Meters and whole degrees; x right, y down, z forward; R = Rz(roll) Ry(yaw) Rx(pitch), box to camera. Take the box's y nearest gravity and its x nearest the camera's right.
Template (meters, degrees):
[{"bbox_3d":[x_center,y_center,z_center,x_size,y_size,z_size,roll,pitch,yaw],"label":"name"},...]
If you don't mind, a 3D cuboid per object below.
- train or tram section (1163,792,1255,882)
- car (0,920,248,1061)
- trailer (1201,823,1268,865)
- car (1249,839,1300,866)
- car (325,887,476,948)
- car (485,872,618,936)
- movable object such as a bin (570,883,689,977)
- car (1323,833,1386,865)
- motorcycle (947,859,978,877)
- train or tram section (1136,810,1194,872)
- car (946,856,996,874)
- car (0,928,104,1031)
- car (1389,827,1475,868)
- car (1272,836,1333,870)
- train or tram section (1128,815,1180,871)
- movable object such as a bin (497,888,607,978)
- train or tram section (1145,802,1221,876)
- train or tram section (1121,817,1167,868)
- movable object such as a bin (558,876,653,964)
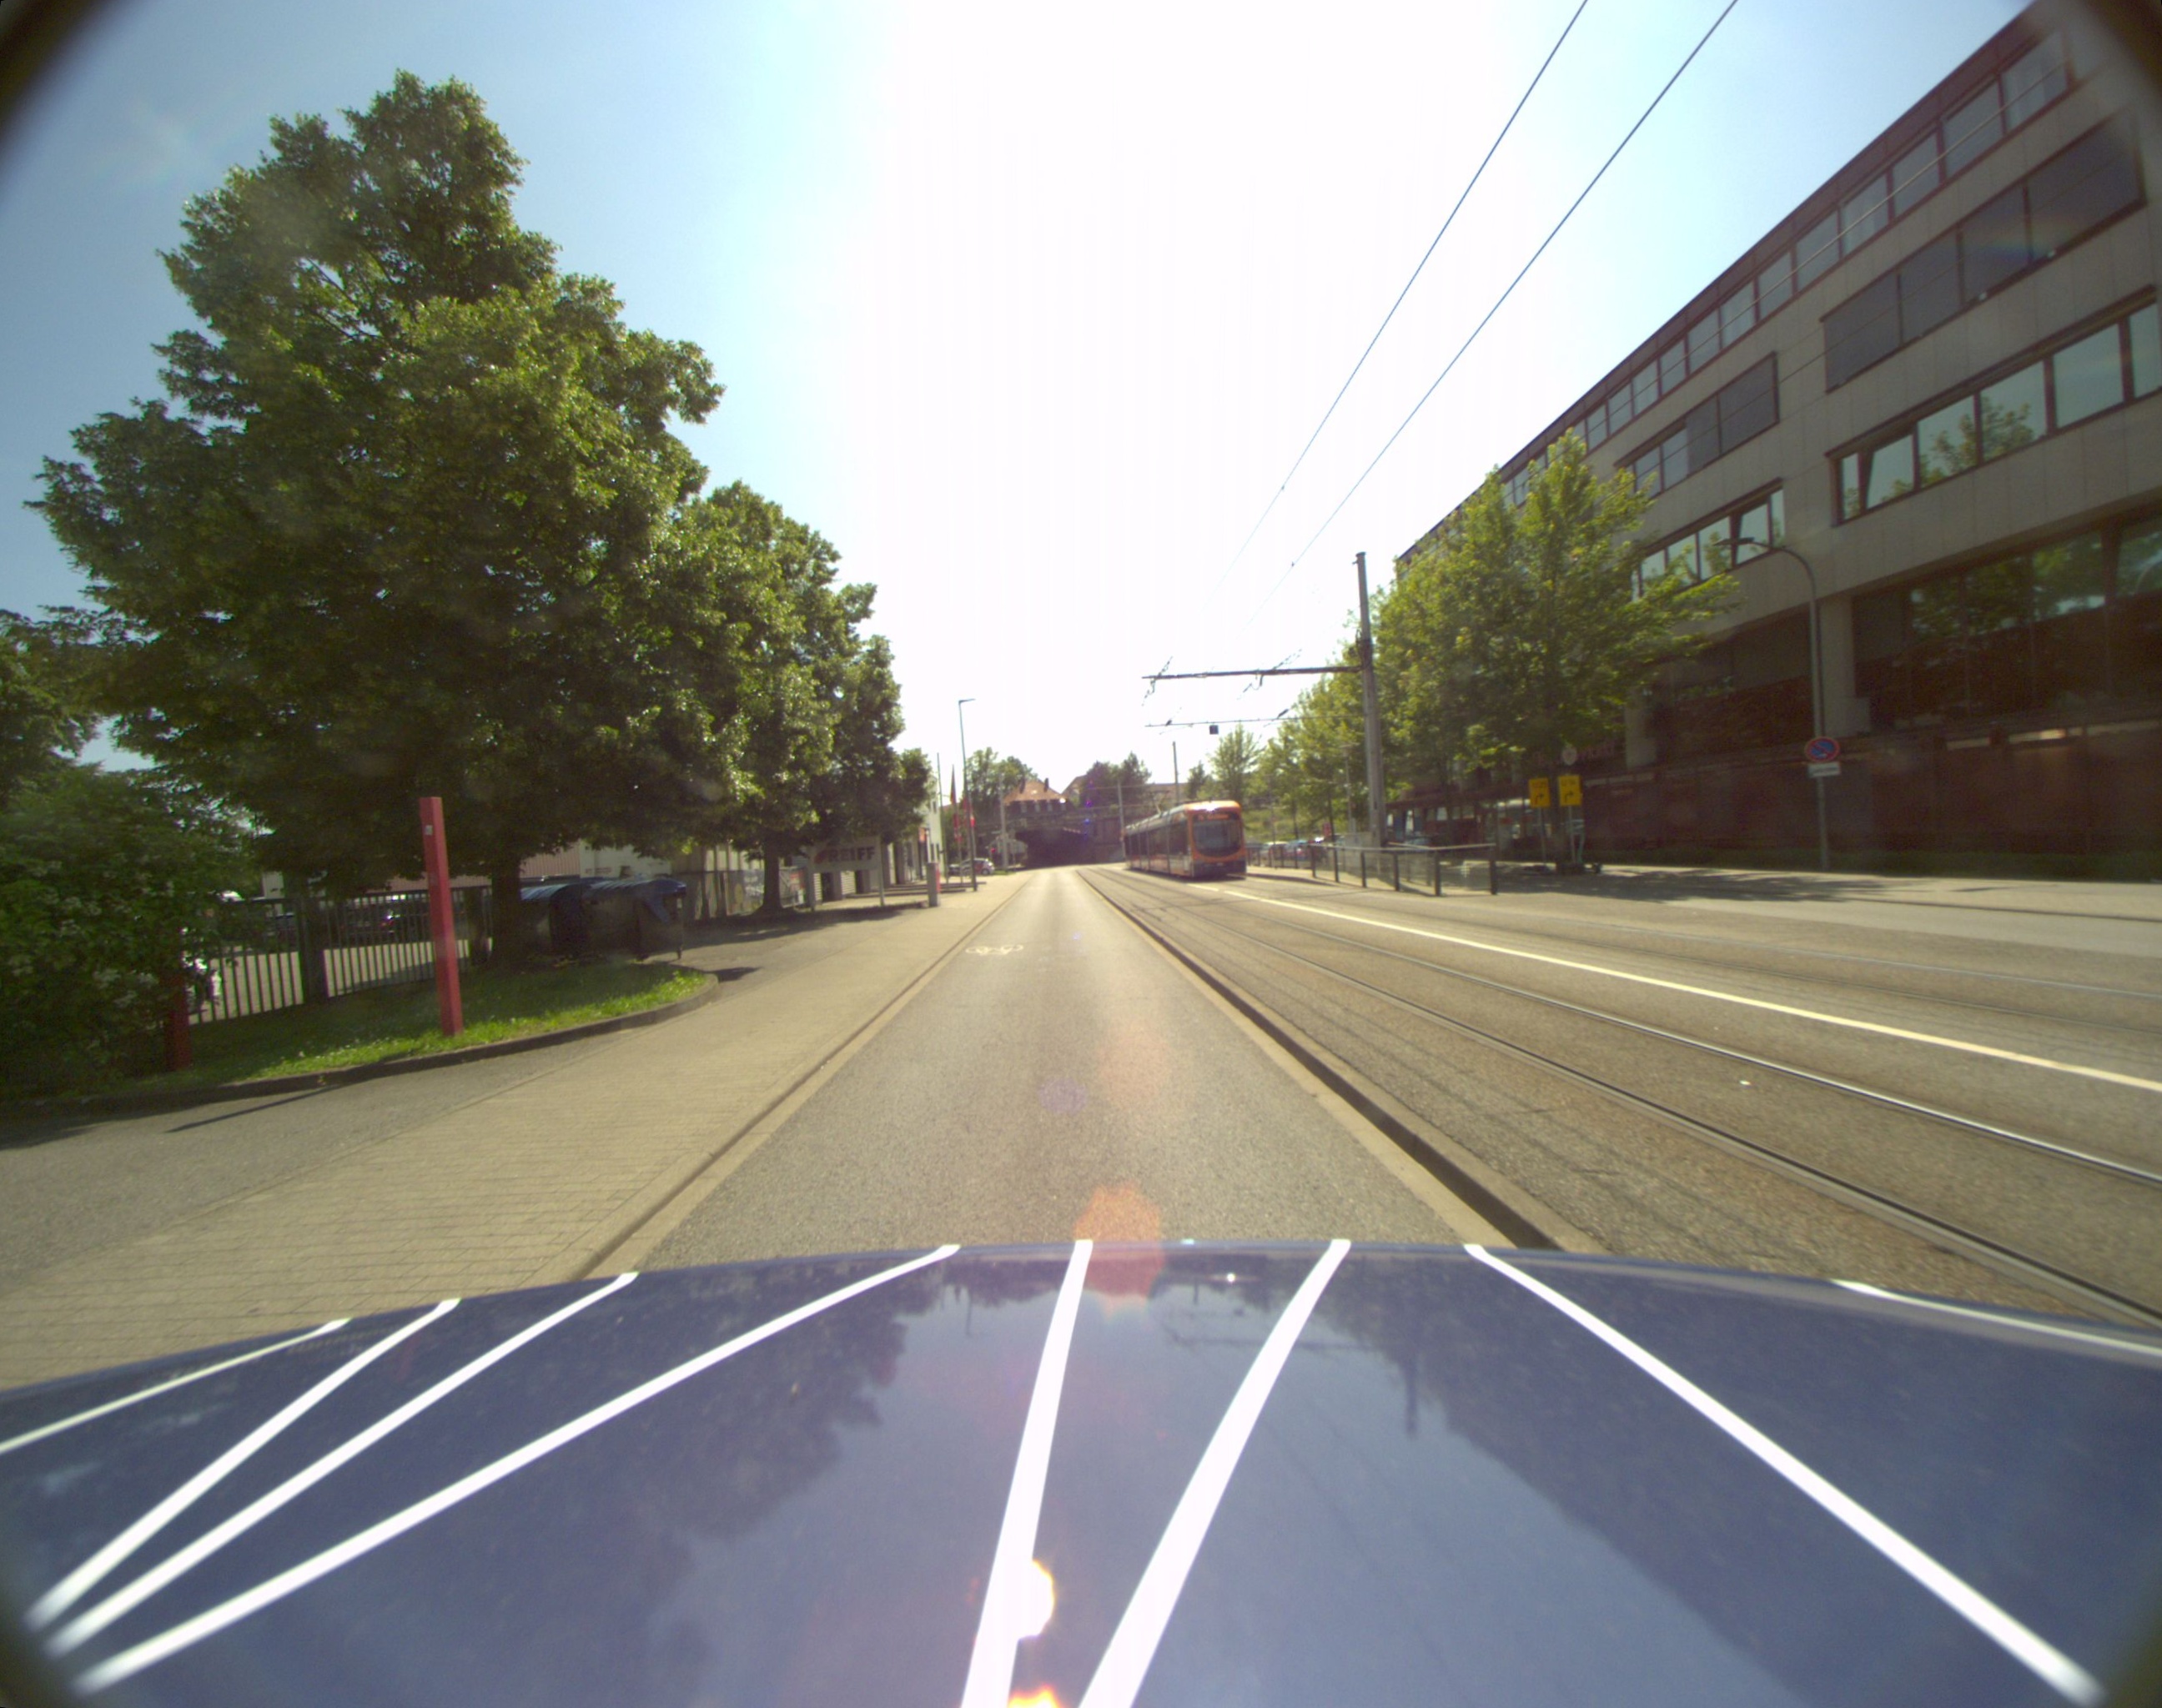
[{"bbox_3d":[5.442,-0.696,33.406,2.587,3.427,6.361,-4,1,-2],"label":"train or tram section"},{"bbox_3d":[-13.944,1.827,9.884,1.748,1.451,3.999,-4,0,-1],"label":"car"},{"bbox_3d":[10.934,-0.665,54.873,2.804,2.613,7.598,-4,0,-3],"label":"trailer"},{"bbox_3d":[11.348,-0.084,44.786,1.727,1.464,4.278,-3,0,-2],"label":"car"},{"bbox_3d":[-24.747,2.239,27.857,1.836,1.776,4.000,-6,-1,-1],"label":"car"},{"bbox_3d":[-18.767,1.720,27.175,1.836,1.917,4.000,-6,-1,-1],"label":"car"},{"bbox_3d":[-7.652,1.277,12.911,1.385,1.422,0.992,-3,3,23],"label":"movable object such as a bin"},{"bbox_3d":[14.258,-0.262,39.844,1.727,1.455,3.903,-5,0,0],"label":"car"},{"bbox_3d":[-9.083,1.043,58.272,2.189,1.301,0.731,-1,1,-3],"label":"motorcycle"},{"bbox_3d":[5.042,-0.763,46.257,2.618,3.427,5.009,-4,1,-2],"label":"train or tram section"},{"bbox_3d":[-9.216,0.898,63.913,3.998,1.454,1.889,-1,1,-3],"label":"car"},{"bbox_3d":[-16.646,1.964,9.795,1.892,1.371,4.767,-3,1,-1],"label":"car"},{"bbox_3d":[15.056,-0.273,32.822,1.765,1.510,3.999,-4,1,-1],"label":"car"},{"bbox_3d":[11.289,-0.063,39.012,1.727,1.575,4.070,-2,0,-3],"label":"car"},{"bbox_3d":[4.871,-0.741,51.691,2.618,3.427,5.841,-4,1,-2],"label":"train or tram section"},{"bbox_3d":[-9.256,1.371,13.313,1.318,1.422,0.885,-3,3,23],"label":"movable object such as a bin"},{"bbox_3d":[5.222,-0.736,40.172,2.587,3.427,7.135,-4,1,-2],"label":"train or tram section"},{"bbox_3d":[4.672,-0.815,57.490,2.618,3.512,5.741,-4,1,-2],"label":"train or tram section"},{"bbox_3d":[-9.516,1.288,15.280,0.981,1.538,1.320,-5,3,-5],"label":"movable object such as a bin"}]
